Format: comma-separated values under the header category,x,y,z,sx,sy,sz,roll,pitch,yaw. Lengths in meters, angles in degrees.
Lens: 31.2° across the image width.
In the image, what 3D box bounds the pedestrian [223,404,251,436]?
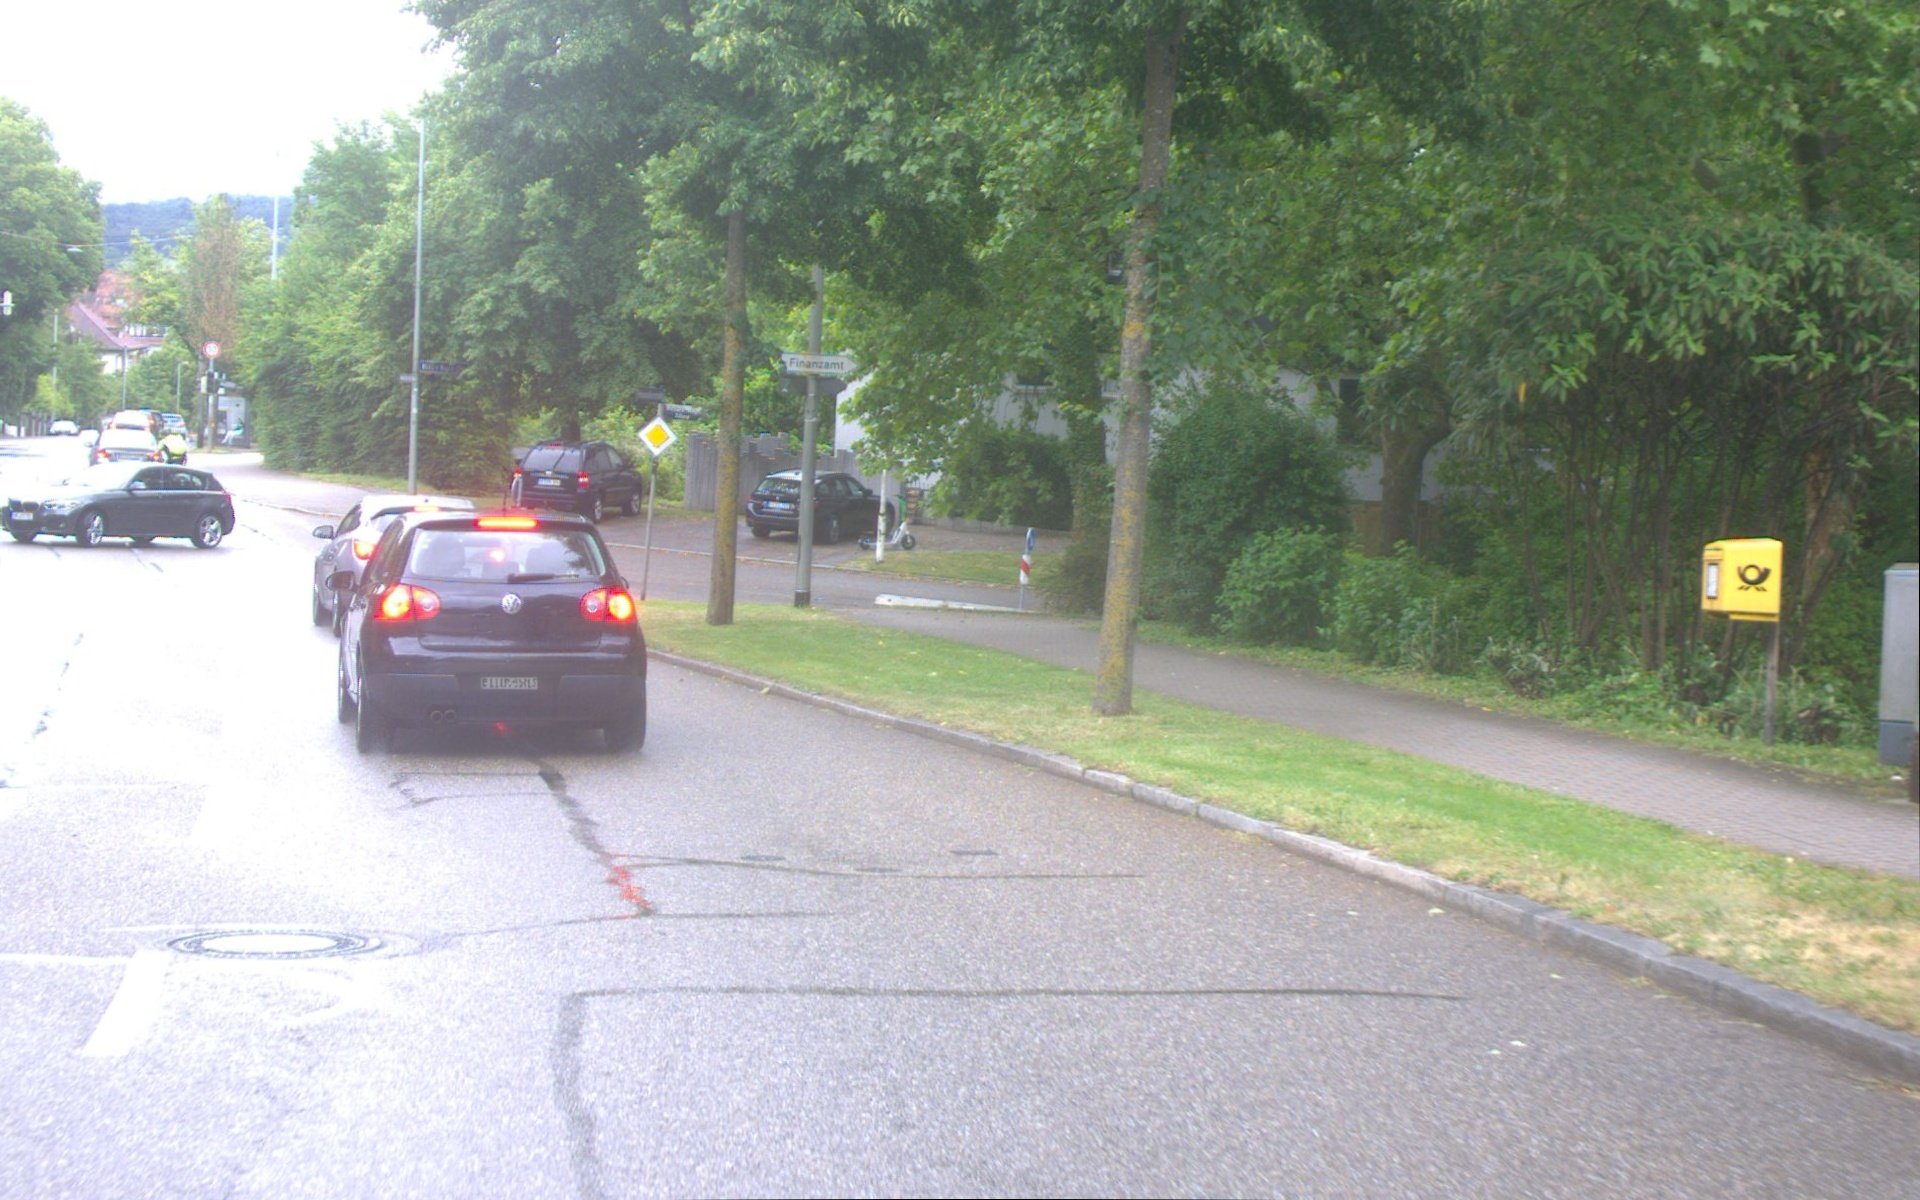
category,x,y,z,sx,sy,sz,roll,pitch,yaw
pedestrian,-32.002,-7.968,152.235,1.073,1.351,0.918,2,3,-5

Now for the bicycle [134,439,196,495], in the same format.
category,x,y,z,sx,sy,sz,roll,pitch,yaw
bicycle,-17.190,-2.875,74.349,0.851,1.151,2.038,2,2,-25

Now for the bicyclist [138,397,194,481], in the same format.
category,x,y,z,sx,sy,sz,roll,pitch,yaw
bicyclist,-17.165,-3.481,74.318,0.851,1.749,1.286,2,2,-26

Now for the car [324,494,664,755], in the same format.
category,x,y,z,sx,sy,sz,roll,pitch,yaw
car,-3.066,0.092,21.973,1.721,1.459,4.001,2,1,-13

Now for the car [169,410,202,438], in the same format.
category,x,y,z,sx,sy,sz,roll,pitch,yaw
car,-45.132,-10.265,200.266,1.721,1.459,4.002,5,2,-14

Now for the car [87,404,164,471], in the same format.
category,x,y,z,sx,sy,sz,roll,pitch,yaw
car,-20.866,-4.071,86.006,1.721,1.459,4.002,5,2,-14

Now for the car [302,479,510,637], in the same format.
category,x,y,z,sx,sy,sz,roll,pitch,yaw
car,-5.905,-0.479,36.334,1.754,1.459,4.002,2,3,-15

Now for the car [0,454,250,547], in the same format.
category,x,y,z,sx,sy,sz,roll,pitch,yaw
car,-14.225,-1.672,58.166,1.725,1.379,4.130,3,1,39

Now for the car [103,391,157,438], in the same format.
category,x,y,z,sx,sy,sz,roll,pitch,yaw
car,-29.440,-6.591,121.975,1.721,1.459,4.002,5,2,-14

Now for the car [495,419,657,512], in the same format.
category,x,y,z,sx,sy,sz,roll,pitch,yaw
car,-8.340,-2.970,75.090,1.949,1.683,4.902,5,6,12

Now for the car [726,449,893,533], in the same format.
category,x,y,z,sx,sy,sz,roll,pitch,yaw
car,-3.184,-2.357,73.616,1.753,1.464,4.561,6,6,22

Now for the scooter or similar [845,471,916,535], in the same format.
category,x,y,z,sx,sy,sz,roll,pitch,yaw
scooter or similar,-1.651,-2.022,71.648,1.335,1.281,0.562,1,3,-21
